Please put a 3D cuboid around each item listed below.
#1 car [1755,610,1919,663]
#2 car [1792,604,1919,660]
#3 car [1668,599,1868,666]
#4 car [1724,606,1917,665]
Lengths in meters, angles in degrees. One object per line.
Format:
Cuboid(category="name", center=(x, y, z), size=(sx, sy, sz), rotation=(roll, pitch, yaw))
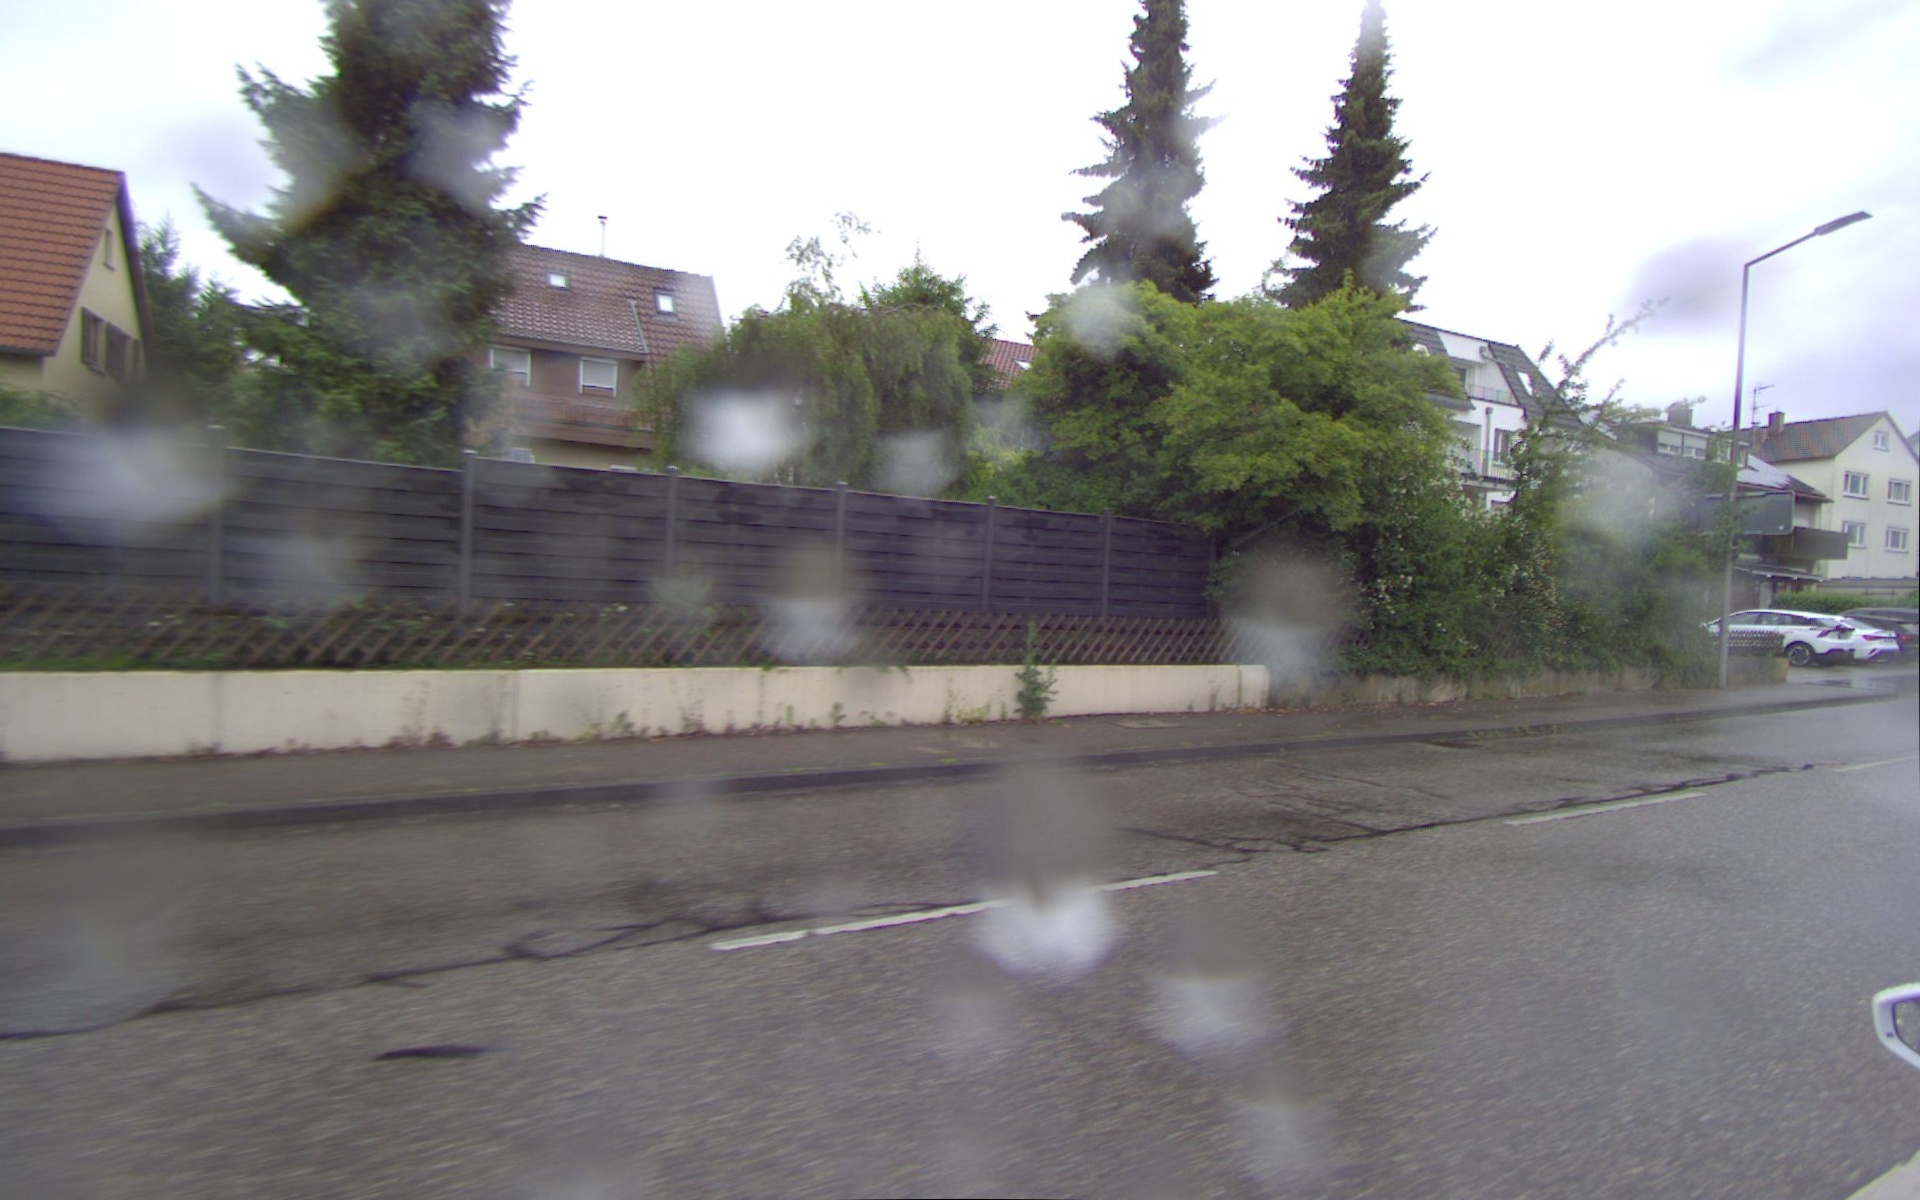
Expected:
Cuboid(category="car", center=(27.936, 1.123, 31.831), size=(1.682, 1.465, 3.975), rotation=(2, 0, -24))
Cuboid(category="car", center=(30.750, 1.048, 33.682), size=(1.783, 1.709, 3.977), rotation=(2, 0, -23))
Cuboid(category="car", center=(23.532, 0.912, 29.422), size=(1.932, 1.606, 4.083), rotation=(2, 2, -27))
Cuboid(category="car", center=(26.004, 1.040, 30.505), size=(1.945, 1.454, 3.973), rotation=(1, 2, -26))
